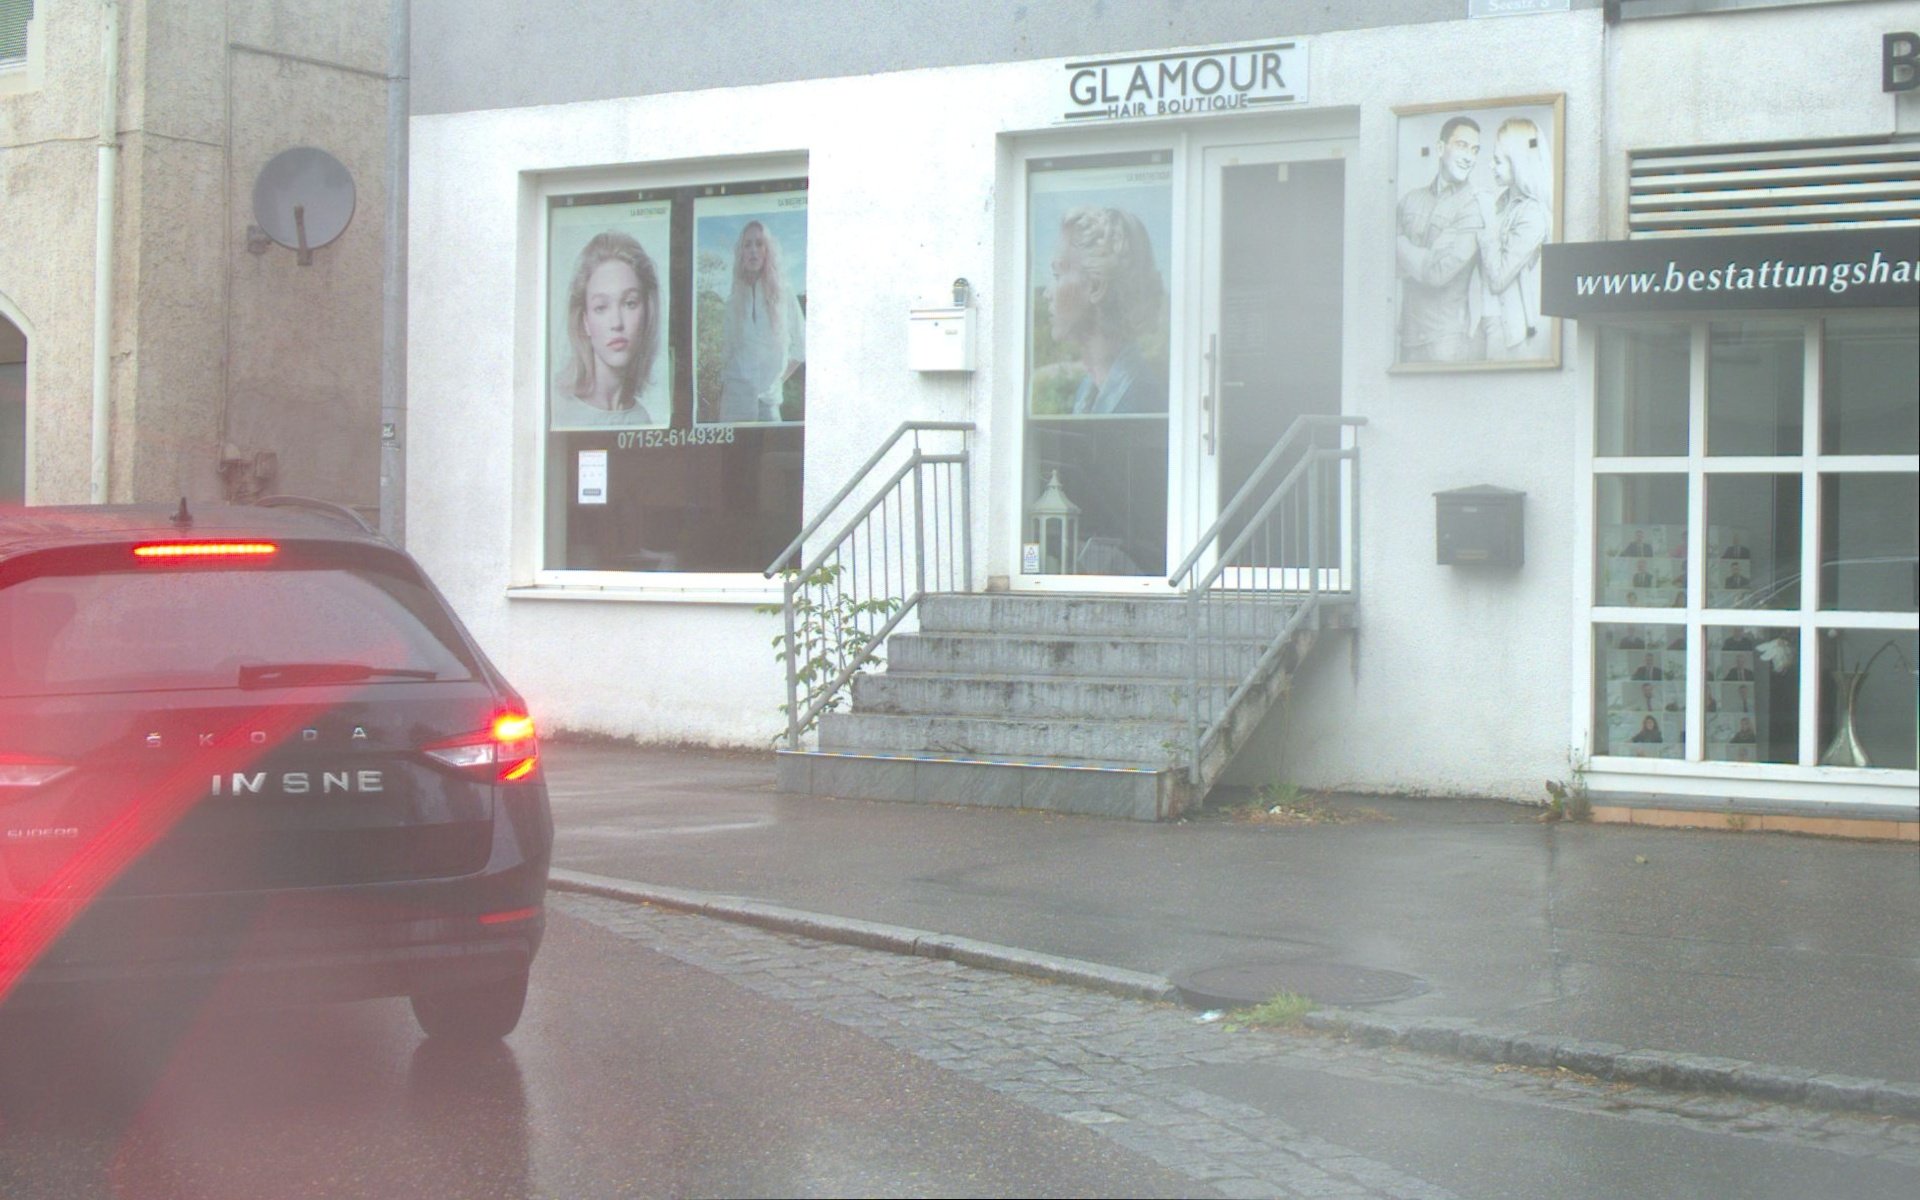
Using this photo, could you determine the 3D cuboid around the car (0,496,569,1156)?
[{"bbox_3d":[-2.574,0.454,9.996,1.732,1.445,4.243,-1,3,-23],"label":"car"}]
